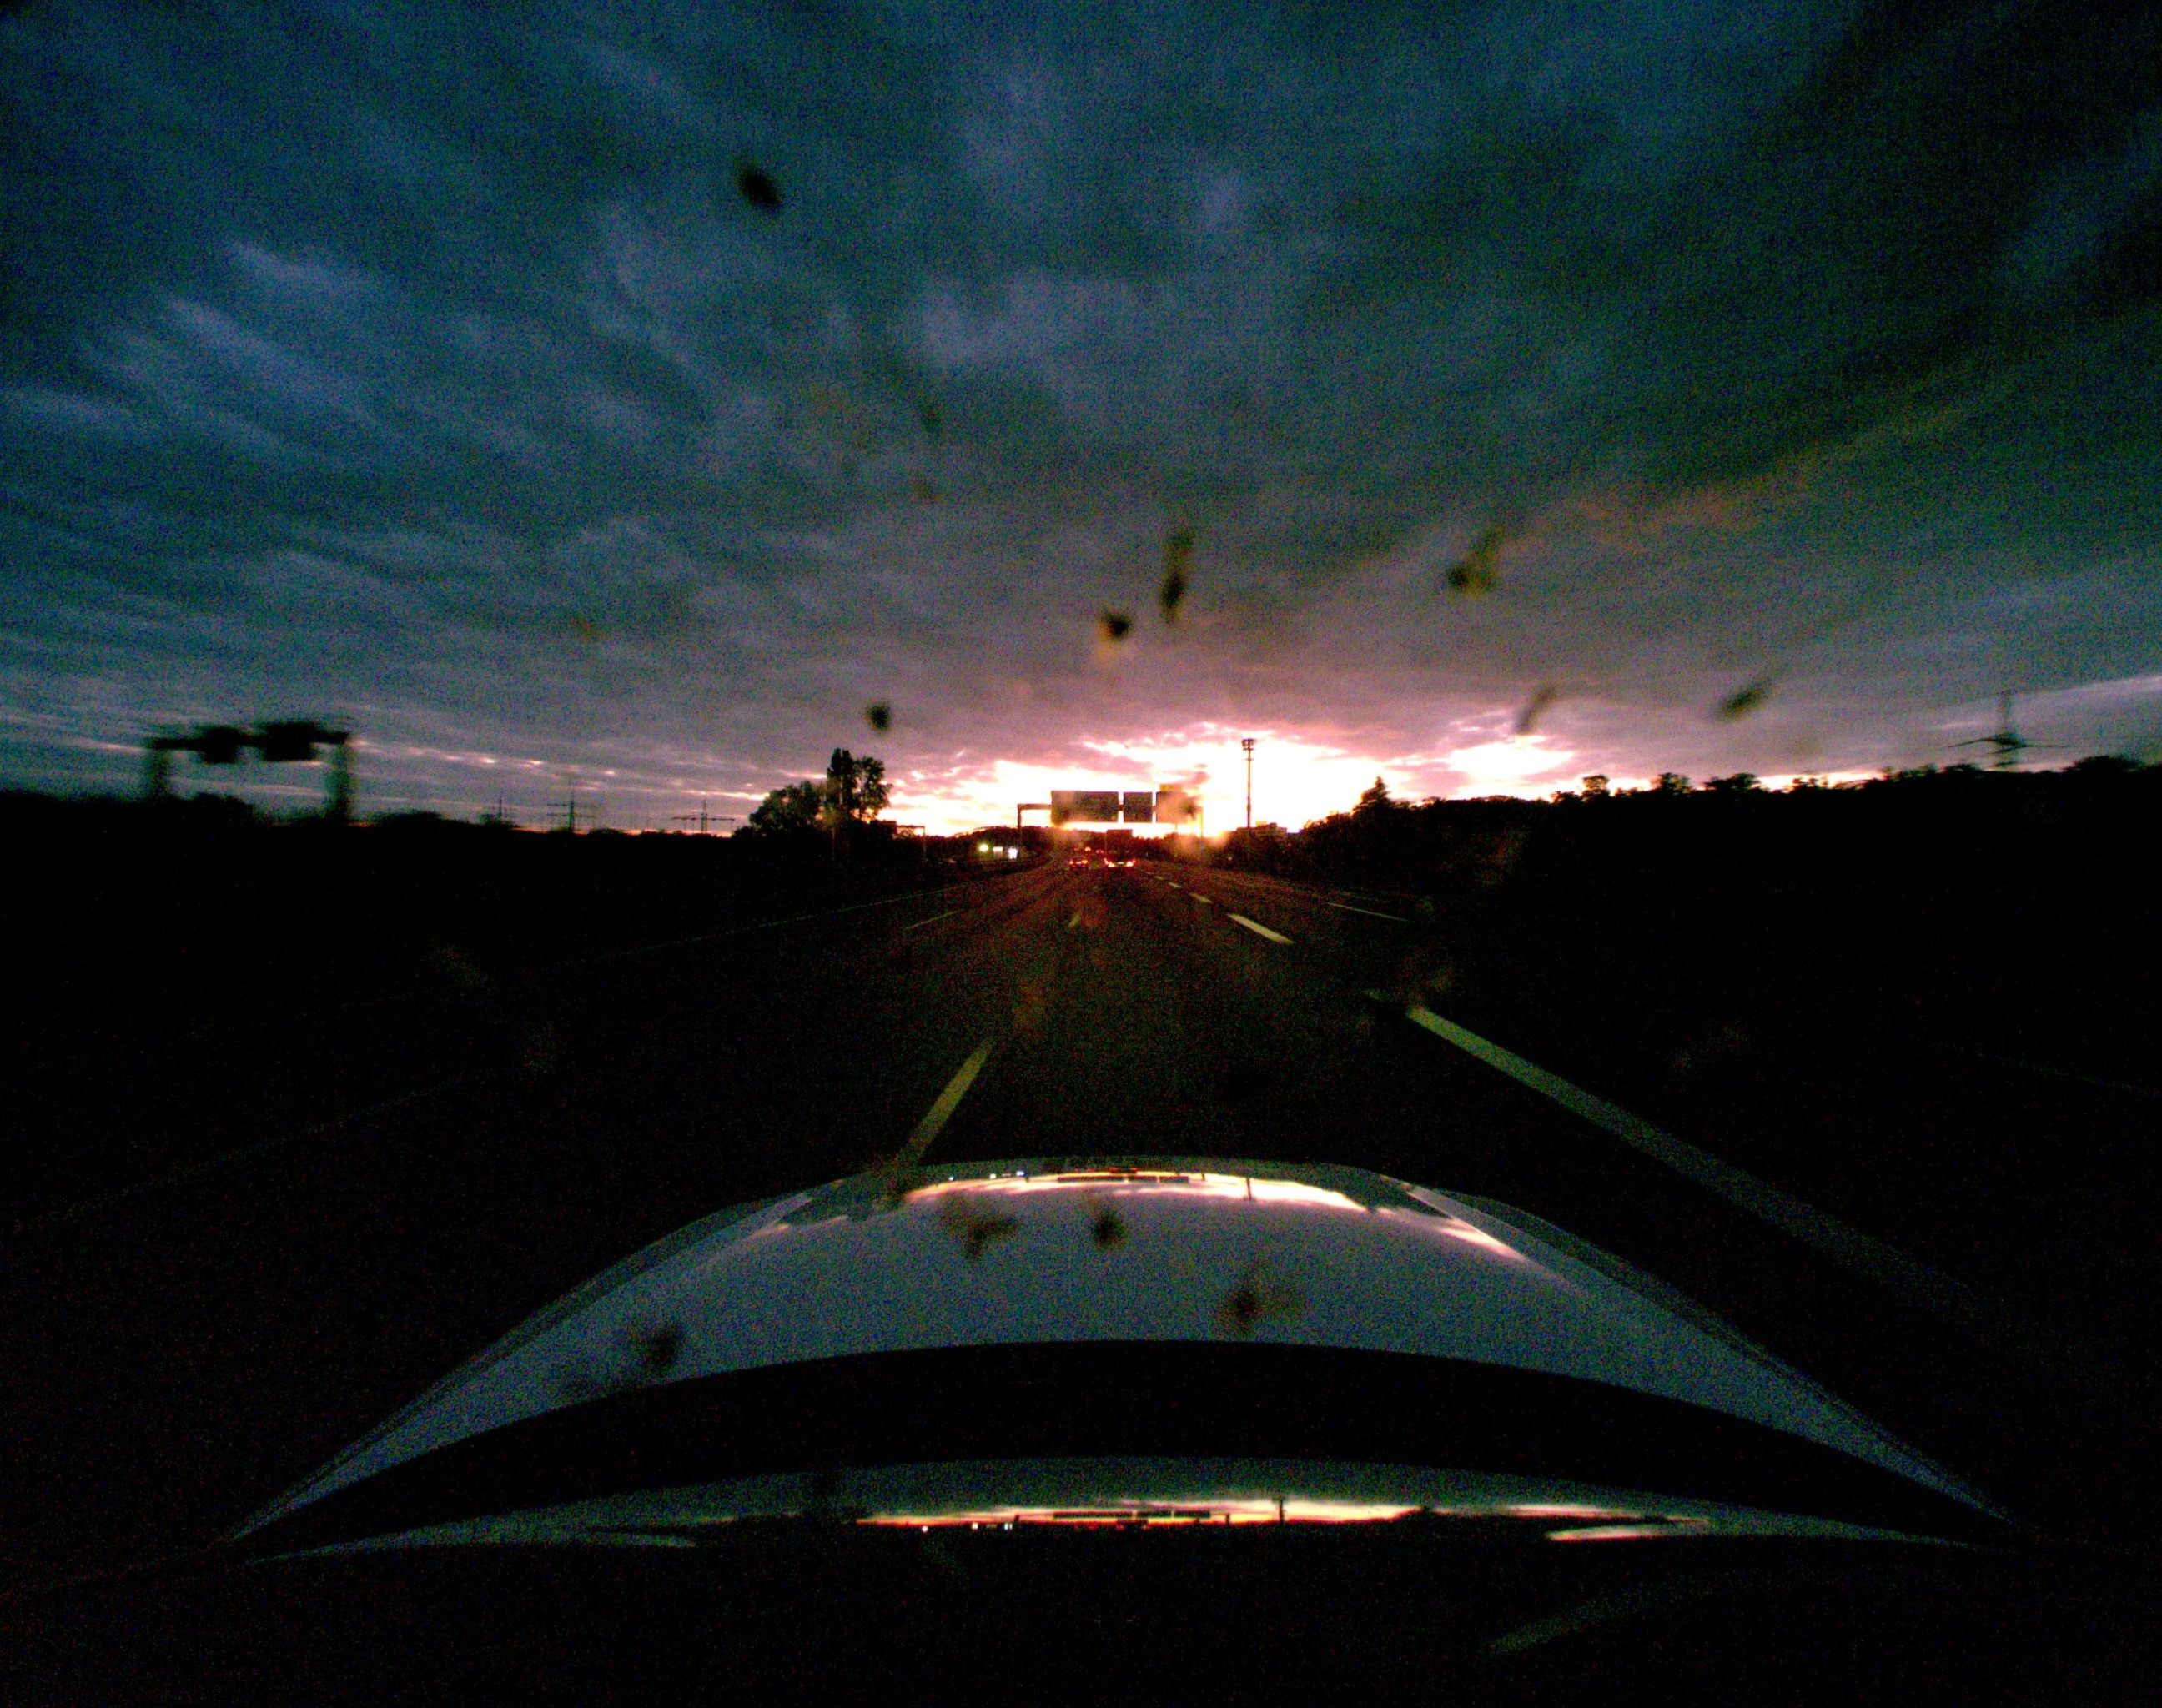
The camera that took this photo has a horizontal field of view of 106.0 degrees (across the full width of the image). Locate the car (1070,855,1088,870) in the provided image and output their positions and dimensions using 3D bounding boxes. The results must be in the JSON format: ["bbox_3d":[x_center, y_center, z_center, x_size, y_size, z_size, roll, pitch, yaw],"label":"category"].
[{"bbox_3d":[-0.194,0.881,84.123,1.685,1.401,3.405,-1,-1,-3],"label":"car"}]

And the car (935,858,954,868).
[{"bbox_3d":[-20.147,1.330,120.321,1.987,1.404,4.329,0,0,0],"label":"car"}]

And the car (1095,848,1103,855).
[{"bbox_3d":[5.190,-0.731,240.922,1.990,1.717,3.994,0,-1,-4],"label":"car"}]

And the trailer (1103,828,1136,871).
[{"bbox_3d":[3.760,-0.481,81.218,2.713,4.071,8.829,-1,1,0],"label":"trailer"}]

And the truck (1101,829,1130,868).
[{"bbox_3d":[3.709,-0.599,90.879,2.682,4.071,10.518,-1,1,0],"label":"truck"}]
